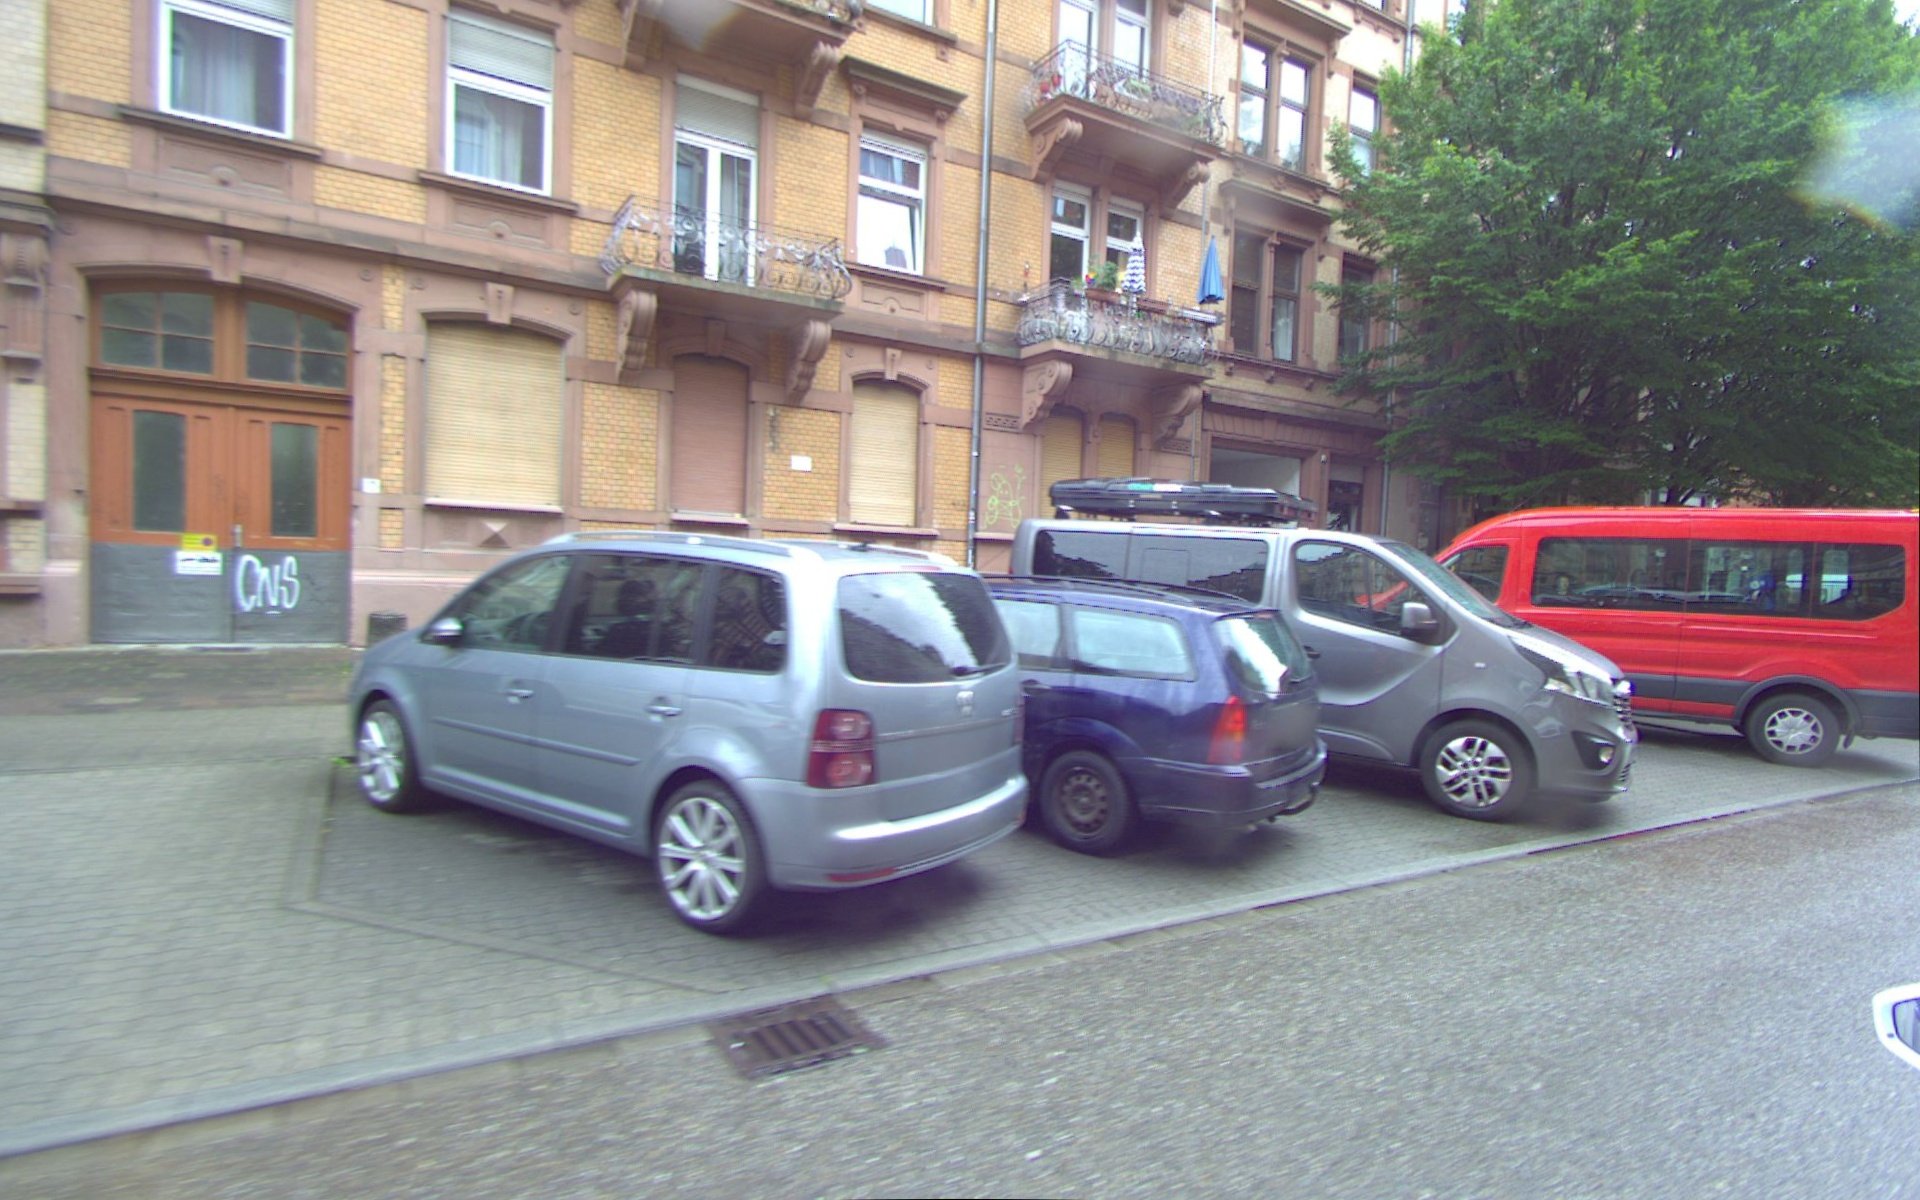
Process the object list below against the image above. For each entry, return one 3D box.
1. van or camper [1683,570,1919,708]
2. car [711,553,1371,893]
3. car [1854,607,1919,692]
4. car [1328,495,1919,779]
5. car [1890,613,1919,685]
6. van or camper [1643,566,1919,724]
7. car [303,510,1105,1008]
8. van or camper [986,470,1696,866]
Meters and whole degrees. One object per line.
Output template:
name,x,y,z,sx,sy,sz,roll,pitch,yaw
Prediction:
van or camper,15.179,0.628,16.607,4.605,1.979,2.337,4,3,18
car,0.350,0.546,7.004,4.288,1.525,1.748,5,4,38
car,19.182,1.007,18.259,3.901,1.466,1.767,4,3,20
car,7.287,0.218,11.307,5.477,2.575,2.223,3,2,33
car,21.201,1.043,20.088,3.411,1.455,1.652,2,1,17
van or camper,12.607,0.610,14.377,4.366,2.002,1.779,3,2,27
car,-1.624,0.458,5.577,4.370,1.653,1.839,6,4,34
van or camper,2.946,0.294,8.389,4.941,2.381,2.337,3,2,34
